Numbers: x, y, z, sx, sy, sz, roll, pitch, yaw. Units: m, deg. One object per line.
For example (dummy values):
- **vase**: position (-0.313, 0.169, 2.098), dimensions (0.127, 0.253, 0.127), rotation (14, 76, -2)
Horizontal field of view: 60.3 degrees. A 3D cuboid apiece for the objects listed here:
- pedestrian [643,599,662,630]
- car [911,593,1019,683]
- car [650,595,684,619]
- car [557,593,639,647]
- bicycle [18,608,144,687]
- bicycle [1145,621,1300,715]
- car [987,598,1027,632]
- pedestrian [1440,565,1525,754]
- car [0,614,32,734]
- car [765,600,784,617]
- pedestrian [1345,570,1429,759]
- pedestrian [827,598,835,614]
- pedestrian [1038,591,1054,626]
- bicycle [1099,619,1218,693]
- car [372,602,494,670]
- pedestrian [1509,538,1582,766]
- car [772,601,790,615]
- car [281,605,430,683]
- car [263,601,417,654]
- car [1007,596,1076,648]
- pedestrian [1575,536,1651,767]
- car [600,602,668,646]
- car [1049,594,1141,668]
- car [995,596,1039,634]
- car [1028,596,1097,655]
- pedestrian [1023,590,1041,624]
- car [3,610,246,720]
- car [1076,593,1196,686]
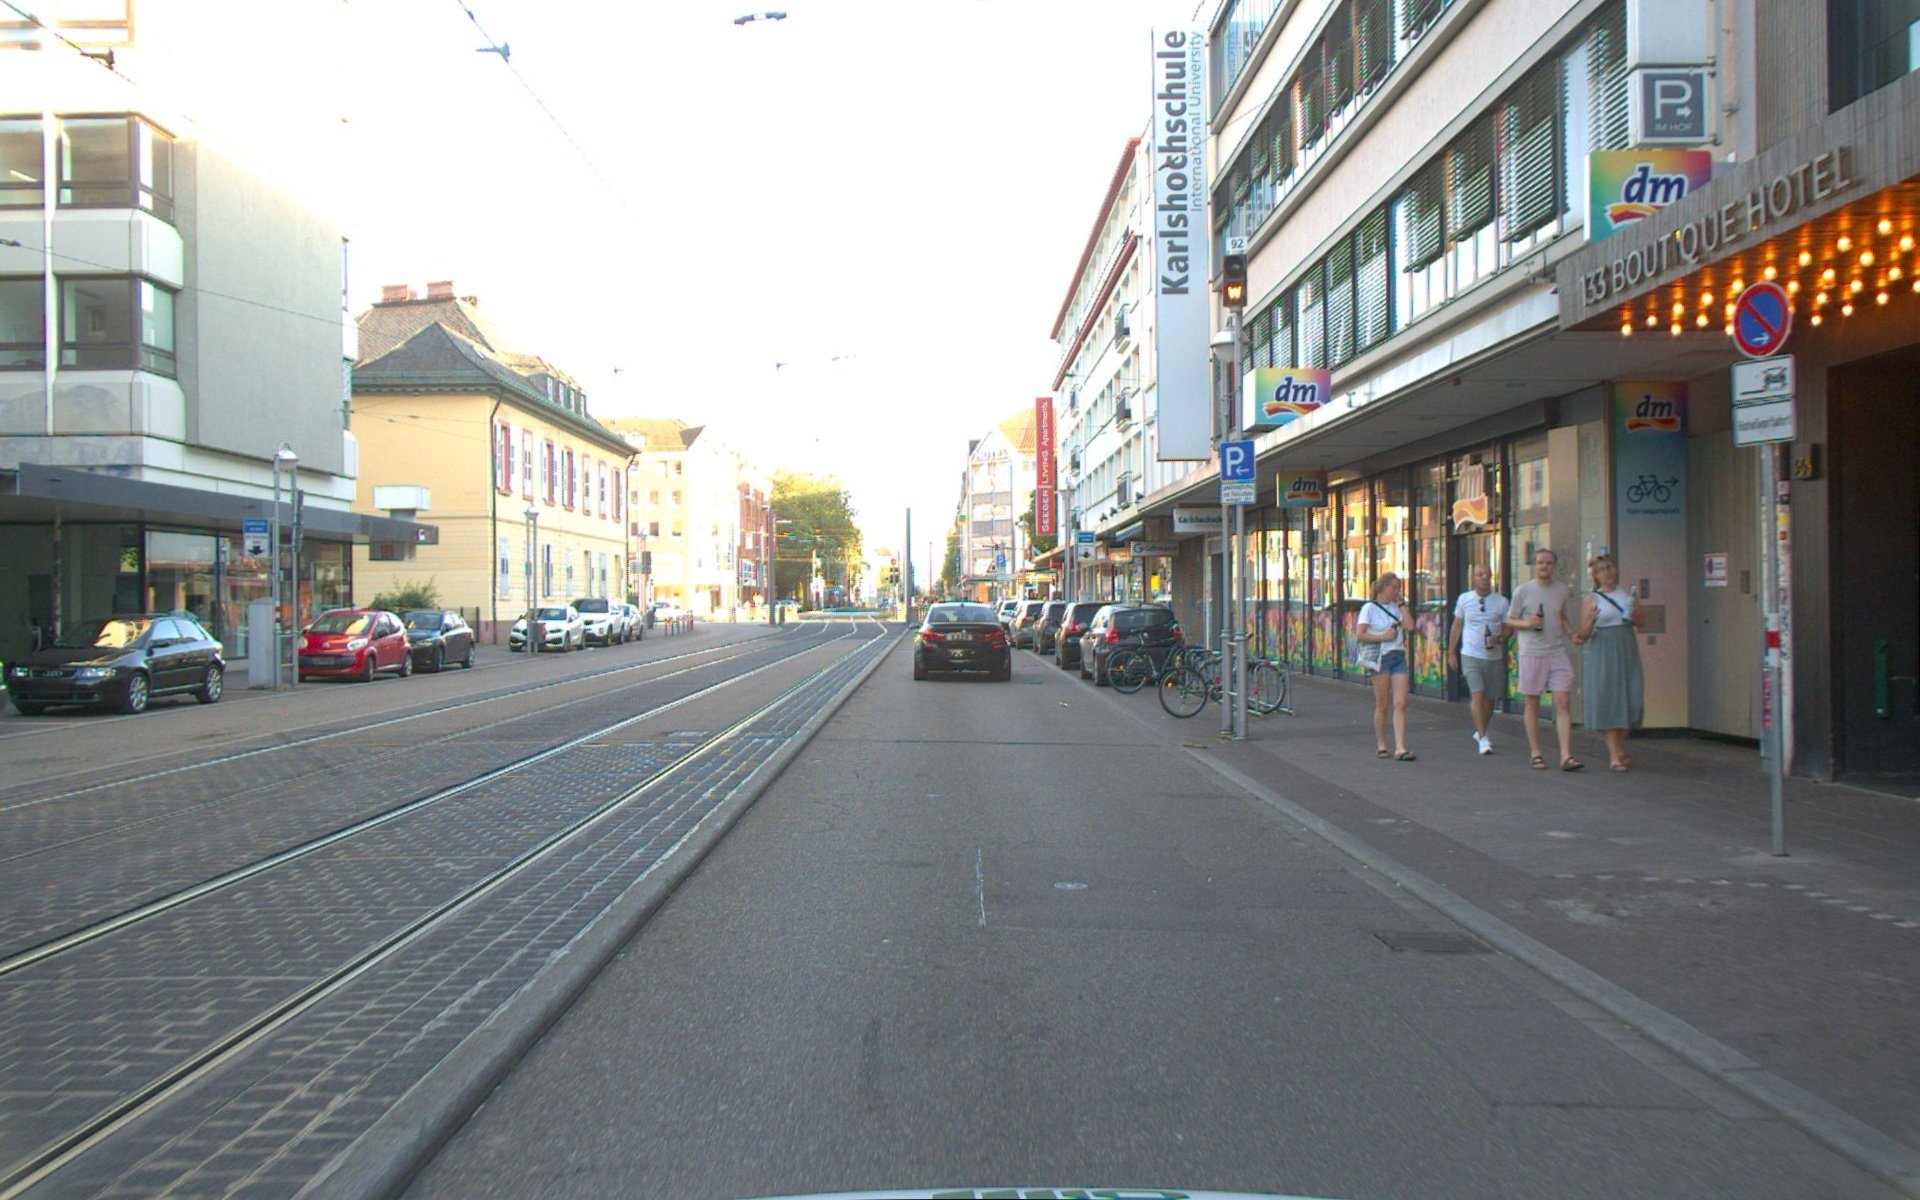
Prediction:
- **pedestrian**: position (-16.272, 0.781, 87.587), dimensions (0.934, 1.612, 0.732), rotation (-1, 0, -8)
- **car**: position (0.051, 0.690, 32.283), dimensions (1.953, 1.612, 3.999), rotation (-1, 0, -1)
- **car**: position (-19.658, 0.466, 111.220), dimensions (1.770, 1.538, 4.032), rotation (-1, 0, -4)
- **car**: position (-13.172, 0.721, 60.468), dimensions (1.775, 1.817, 4.499), rotation (2, 0, 2)
- **bicycle**: position (-16.797, 0.898, 31.645), dimensions (1.929, 1.450, 0.834), rotation (-1, 0, -3)
- **bicycle**: position (3.390, 0.867, 21.447), dimensions (1.848, 1.095, 0.676), rotation (-3, 0, -4)
- **car**: position (2.214, 0.697, 78.679), dimensions (1.700, 1.538, 4.685), rotation (-2, 0, 0)
- **pedestrian**: position (5.059, 0.567, 16.039), dimensions (0.596, 1.784, 0.605), rotation (-1, 0, -1)
- **car**: position (-12.910, 0.929, 19.073), dimensions (1.953, 1.491, 4.557), rotation (0, 0, -2)
- **car**: position (-21.261, 0.999, 189.773), dimensions (1.954, 1.934, 4.808), rotation (-1, 0, -3)
- **pedestrian**: position (4.057, 0.599, 15.749), dimensions (0.592, 1.757, 0.646), rotation (-1, 0, -1)
- **pedestrian**: position (-16.569, 0.821, 212.454), dimensions (0.968, 2.049, 0.725), rotation (1, -1, -2)
- **pedestrian**: position (4.448, 0.428, 85.654), dimensions (0.713, 1.771, 0.863), rotation (-2, 0, -1)
- **bicycle**: position (3.257, 0.918, 27.200), dimensions (1.848, 1.158, 0.676), rotation (-1, 0, -4)
- **car**: position (-12.902, 0.843, 40.752), dimensions (1.651, 1.538, 4.214), rotation (-1, 0, 0)
- **pedestrian**: position (5.065, 0.440, 14.311), dimensions (0.446, 1.932, 0.421), rotation (-1, 0, -1)
- **car**: position (-21.396, 0.903, 198.000), dimensions (1.954, 1.612, 4.584), rotation (-1, 0, -3)
- **car**: position (-12.954, 0.897, 35.703), dimensions (1.651, 1.538, 4.214), rotation (-1, 0, 0)
- **car**: position (-18.633, 0.813, 49.796), dimensions (3.904, 1.492, 1.846), rotation (-1, 0, 1)
- **car**: position (2.541, 0.671, 52.622), dimensions (1.754, 1.538, 4.710), rotation (-2, 0, -2)
- **pedestrian**: position (5.563, 0.432, 14.101), dimensions (0.442, 1.932, 0.421), rotation (-1, 0, -1)
- **car**: position (-12.929, 0.940, 65.834), dimensions (1.775, 1.645, 4.215), rotation (-1, 0, 1)
- **car**: position (3.016, 0.660, 37.683), dimensions (1.685, 1.538, 4.167), rotation (-2, 0, 0)
- **car**: position (2.493, 0.646, 73.310), dimensions (1.749, 1.538, 4.051), rotation (-2, 0, 0)
- **car**: position (2.865, 0.697, 46.988), dimensions (1.651, 1.538, 4.034), rotation (-2, 0, 0)
- **pedestrian**: position (3.779, 0.357, 87.037), dimensions (0.810, 1.748, 0.843), rotation (-2, 0, -1)
- **car**: position (-12.888, 0.945, 25.836), dimensions (1.652, 1.538, 4.444), rotation (0, 0, -2)
- **car**: position (3.182, 0.674, 30.643), dimensions (1.708, 1.538, 4.257), rotation (-2, 0, 0)
